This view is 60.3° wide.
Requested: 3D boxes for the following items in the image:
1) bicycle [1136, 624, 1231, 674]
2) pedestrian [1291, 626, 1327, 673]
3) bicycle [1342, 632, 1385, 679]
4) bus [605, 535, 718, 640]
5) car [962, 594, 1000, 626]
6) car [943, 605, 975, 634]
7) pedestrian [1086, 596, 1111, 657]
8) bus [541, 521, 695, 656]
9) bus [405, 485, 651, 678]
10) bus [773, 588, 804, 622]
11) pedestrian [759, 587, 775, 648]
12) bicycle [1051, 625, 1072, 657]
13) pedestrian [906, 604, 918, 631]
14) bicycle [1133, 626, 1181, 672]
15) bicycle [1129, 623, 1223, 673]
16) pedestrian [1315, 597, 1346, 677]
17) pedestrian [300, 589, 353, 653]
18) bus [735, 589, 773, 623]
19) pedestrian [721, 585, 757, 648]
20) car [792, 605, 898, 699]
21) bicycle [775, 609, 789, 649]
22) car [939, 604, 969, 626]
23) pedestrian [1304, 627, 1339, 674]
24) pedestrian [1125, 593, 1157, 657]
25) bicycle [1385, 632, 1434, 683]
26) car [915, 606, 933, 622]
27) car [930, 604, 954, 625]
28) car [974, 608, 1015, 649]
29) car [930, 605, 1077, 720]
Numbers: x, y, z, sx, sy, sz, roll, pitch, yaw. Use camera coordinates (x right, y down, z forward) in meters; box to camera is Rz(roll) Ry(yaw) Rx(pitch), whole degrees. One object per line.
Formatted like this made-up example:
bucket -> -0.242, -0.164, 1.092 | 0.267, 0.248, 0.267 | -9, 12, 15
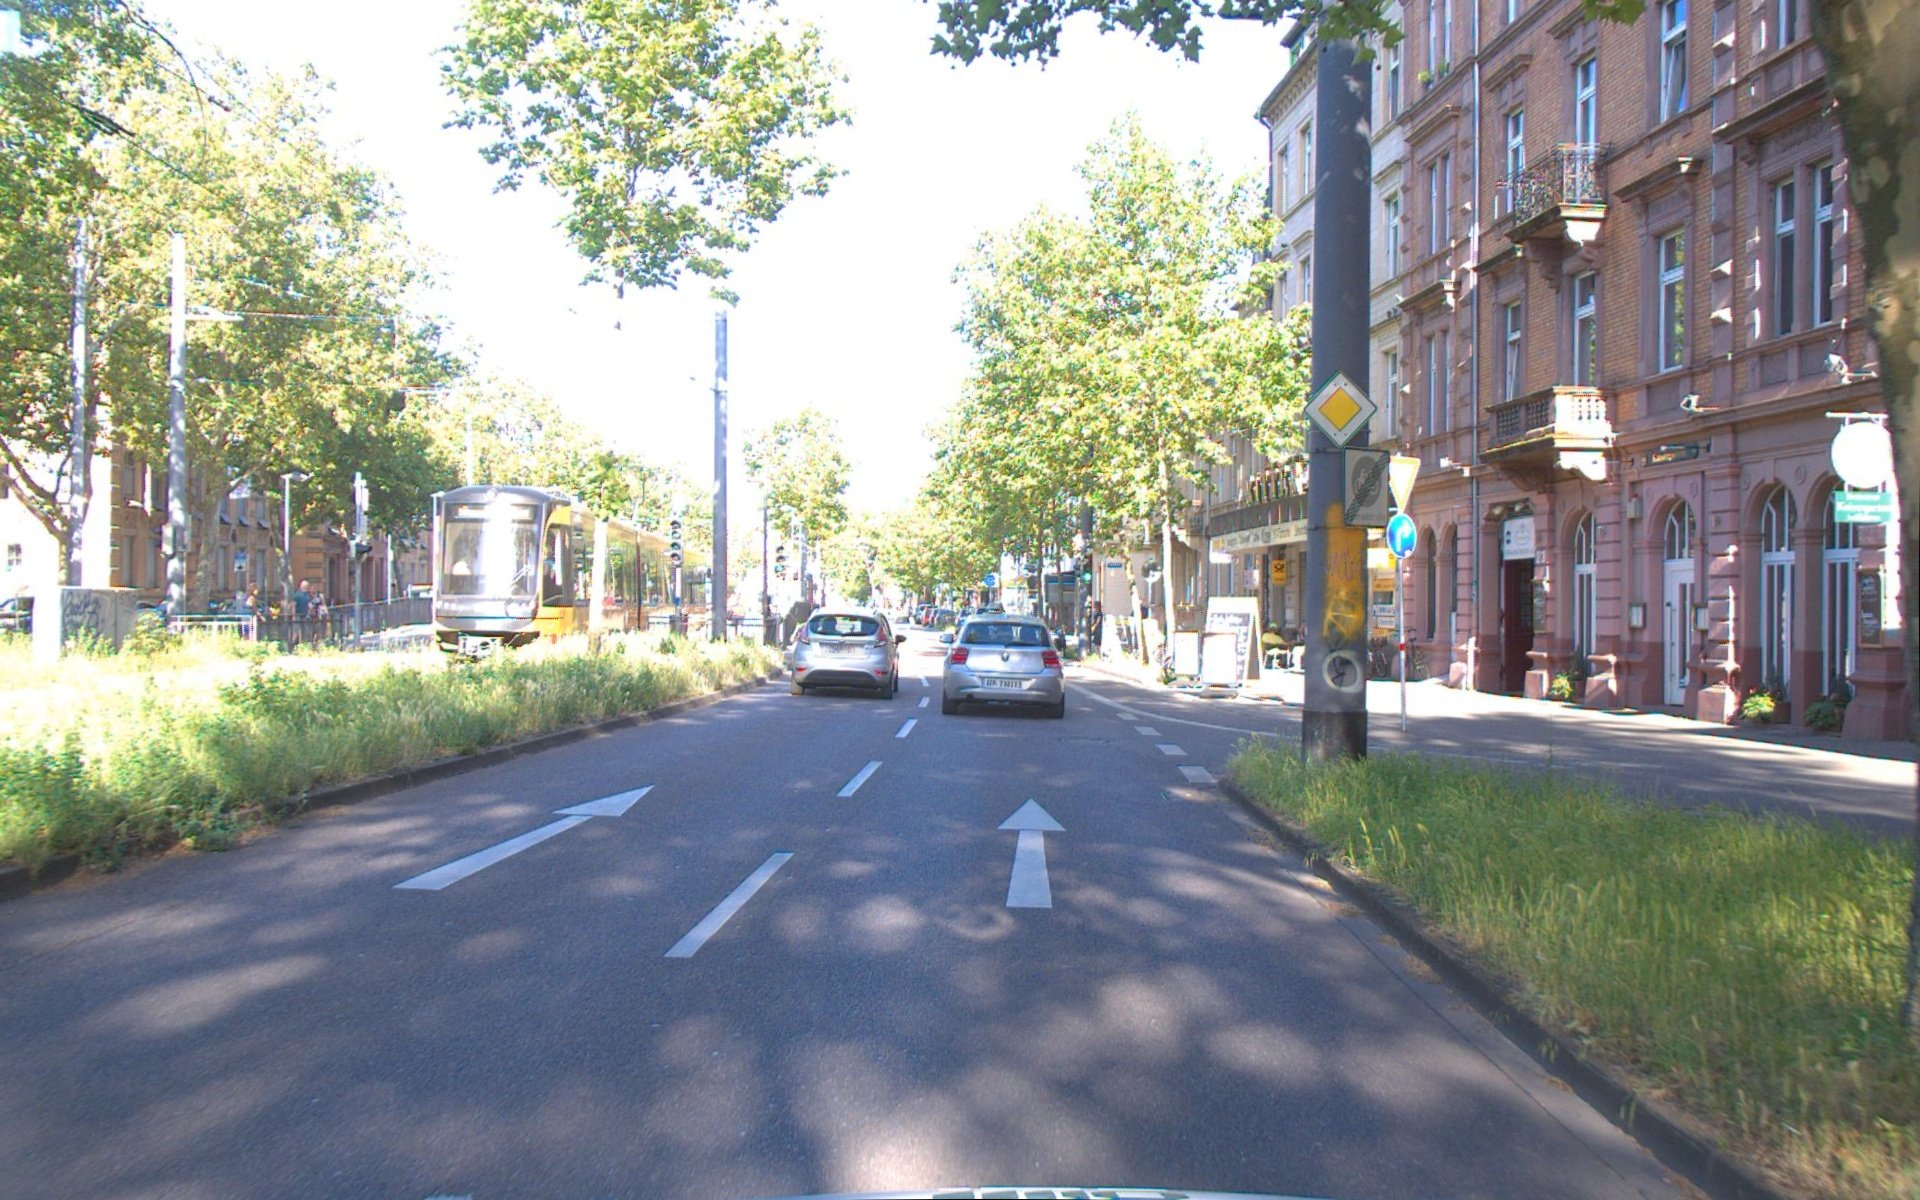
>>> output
bicycle -> 4.864, 1.071, 36.053 | 1.965, 1.010, 0.443 | 2, 0, -7
pedestrian -> 9.155, 1.296, 43.411 | 0.763, 1.181, 0.465 | 2, 0, -29
bicycle -> 9.486, 1.298, 38.890 | 0.434, 1.010, 1.687 | 2, 0, -5
bus -> -10.924, -0.389, 61.625 | 2.812, 3.504, 11.601 | 1, 0, -4
car -> 1.141, 0.544, 92.313 | 1.762, 1.730, 4.733 | 1, 0, -4
car -> -0.073, 1.164, 101.489 | 1.658, 1.687, 4.036 | 0, 1, -4
pedestrian -> 4.181, 0.805, 49.976 | 0.629, 1.802, 0.869 | 2, 0, 2
bus -> -9.969, -0.271, 49.663 | 2.812, 3.504, 12.205 | 1, 0, -4
bus -> -9.147, -0.308, 36.920 | 2.812, 3.504, 13.206 | 1, 0, -4
bus -> -19.454, 0.504, 188.727 | 2.695, 3.689, 18.833 | 1, 0, -4
pedestrian -> -6.147, 0.550, 52.715 | 0.442, 1.936, 0.583 | 1, -1, -11
bicycle -> 3.319, 1.335, 53.945 | 0.419, 0.987, 1.749 | 2, 0, -4
pedestrian -> -3.666, 1.335, 127.174 | 0.821, 2.049, 0.648 | 2, 0, 3
bicycle -> 4.730, 1.172, 39.803 | 0.436, 1.010, 1.680 | 2, 0, -18
bicycle -> 4.781, 1.069, 36.584 | 1.975, 1.010, 0.443 | 2, 0, -7
pedestrian -> 8.769, 0.870, 39.149 | 0.459, 1.842, 0.773 | 2, 0, 27
pedestrian -> -16.936, 0.556, 44.209 | 1.156, 1.672, 0.890 | 1, -1, -12
bus -> -23.671, 0.603, 191.411 | 2.812, 3.692, 24.584 | 1, 0, -4
pedestrian -> -6.989, 0.519, 52.355 | 1.051, 1.949, 1.125 | 1, -1, -6
car -> -1.931, 0.832, 28.042 | 1.614, 1.386, 3.757 | 2, 0, -4
bicycle -> -5.663, 0.915, 52.578 | 0.322, 1.235, 1.824 | 1, 0, -10
car -> -0.476, 1.168, 127.681 | 1.954, 1.535, 4.593 | 2, -1, -4
pedestrian -> 9.355, 1.306, 42.775 | 0.635, 1.181, 0.608 | 2, 0, -15
pedestrian -> 5.933, 0.804, 54.298 | 0.864, 2.049, 0.856 | 2, 0, -1
bicycle -> 9.769, 1.242, 36.002 | 0.434, 1.010, 1.687 | 2, 0, -5
car -> -3.847, 1.431, 175.236 | 1.667, 1.561, 3.714 | 2, 0, -4
car -> -1.475, 1.134, 132.746 | 1.636, 1.578, 3.997 | 2, 0, -4
car -> 1.765, 1.432, 86.019 | 1.720, 1.999, 4.733 | 1, 0, -4
car -> 0.560, 0.868, 24.626 | 1.728, 1.457, 3.996 | 2, 0, -5
